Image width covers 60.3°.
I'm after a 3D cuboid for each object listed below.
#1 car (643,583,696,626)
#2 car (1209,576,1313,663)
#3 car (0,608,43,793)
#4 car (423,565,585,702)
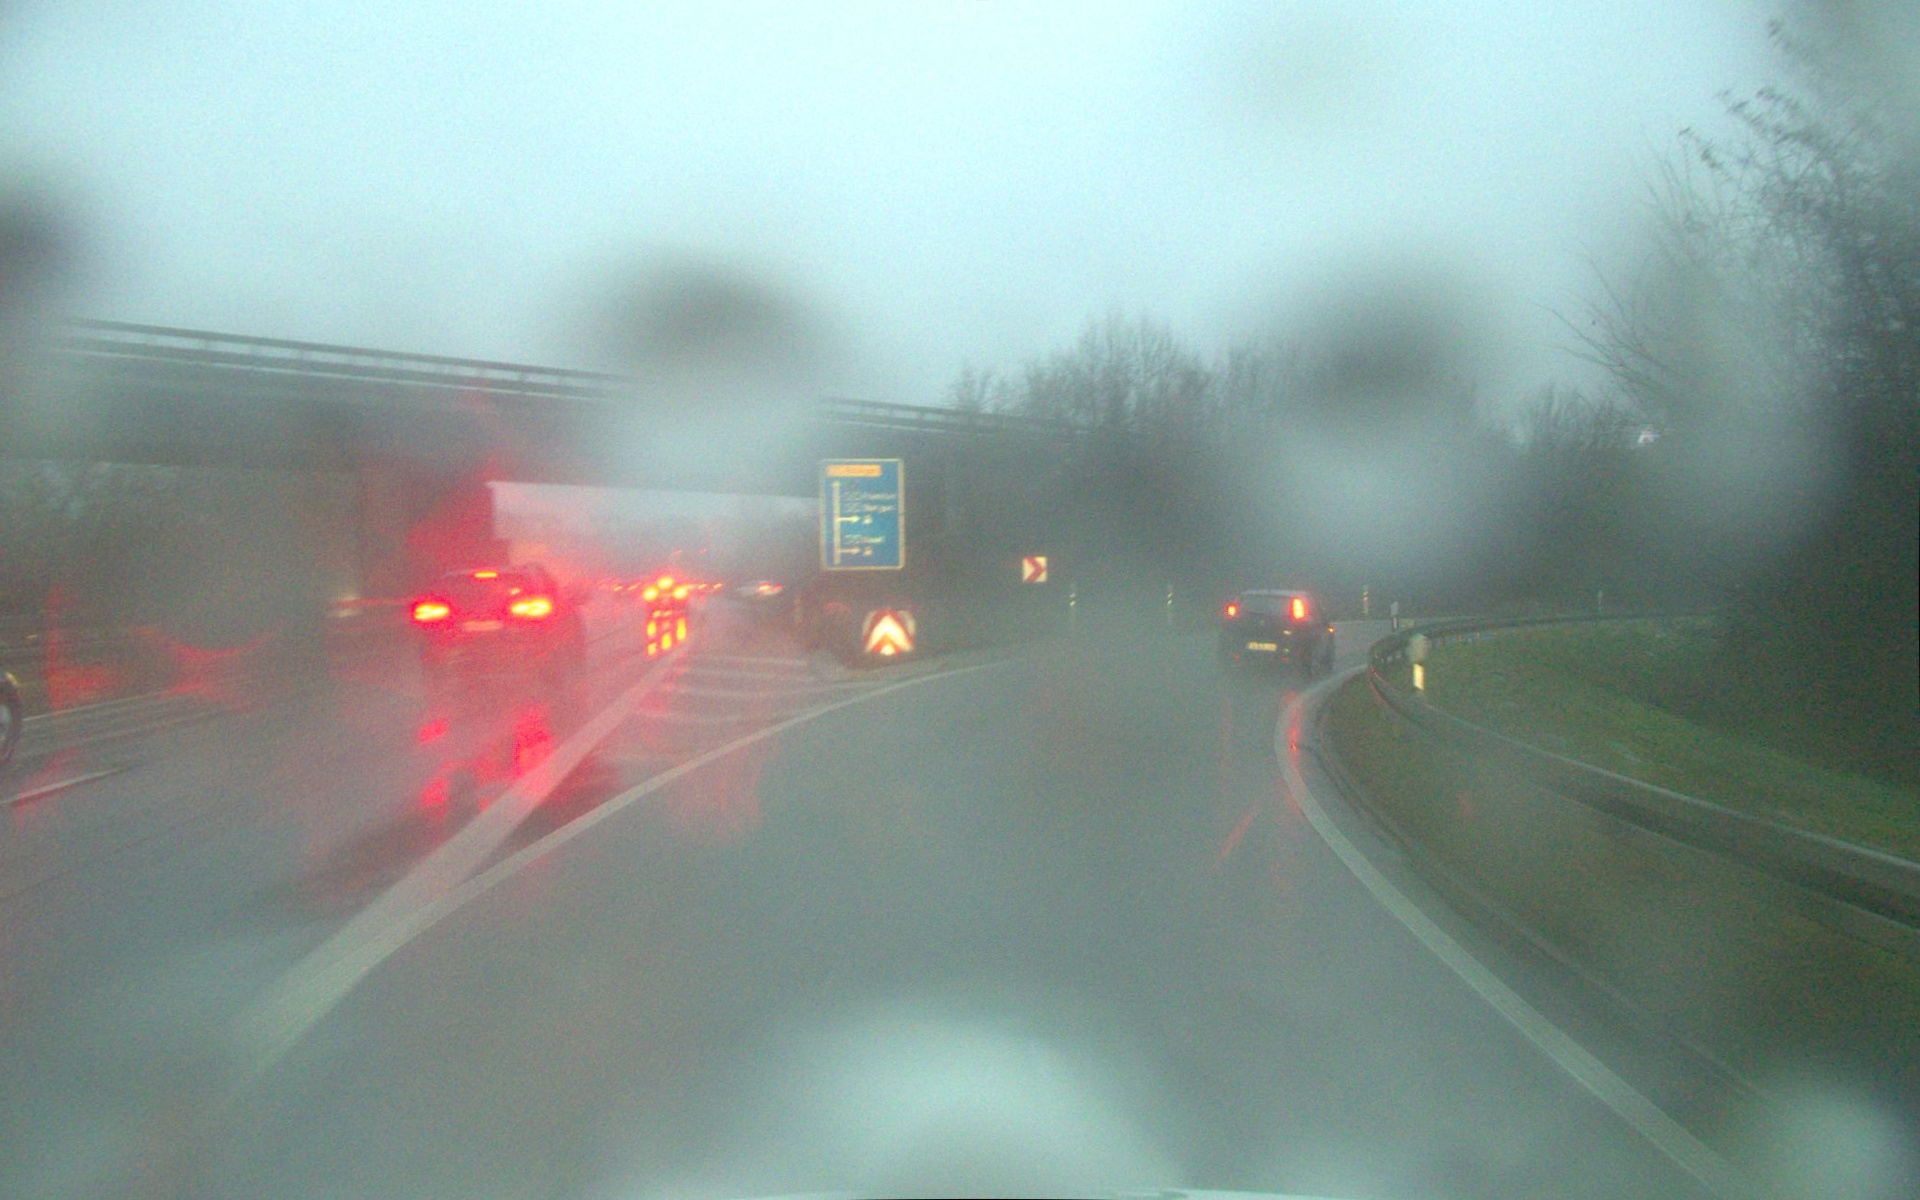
[{"bbox_3d":[-12.433,0.163,70.954,1.841,1.645,3.872,-1,3,-5],"label":"car"},{"bbox_3d":[5.550,0.303,30.209,1.695,1.454,3.769,1,1,13],"label":"car"},{"bbox_3d":[-8.525,0.921,12.068,1.766,1.493,4.402,-5,2,-10],"label":"car"},{"bbox_3d":[-6.417,0.404,23.663,1.959,1.693,3.988,-3,1,-13],"label":"car"}]
